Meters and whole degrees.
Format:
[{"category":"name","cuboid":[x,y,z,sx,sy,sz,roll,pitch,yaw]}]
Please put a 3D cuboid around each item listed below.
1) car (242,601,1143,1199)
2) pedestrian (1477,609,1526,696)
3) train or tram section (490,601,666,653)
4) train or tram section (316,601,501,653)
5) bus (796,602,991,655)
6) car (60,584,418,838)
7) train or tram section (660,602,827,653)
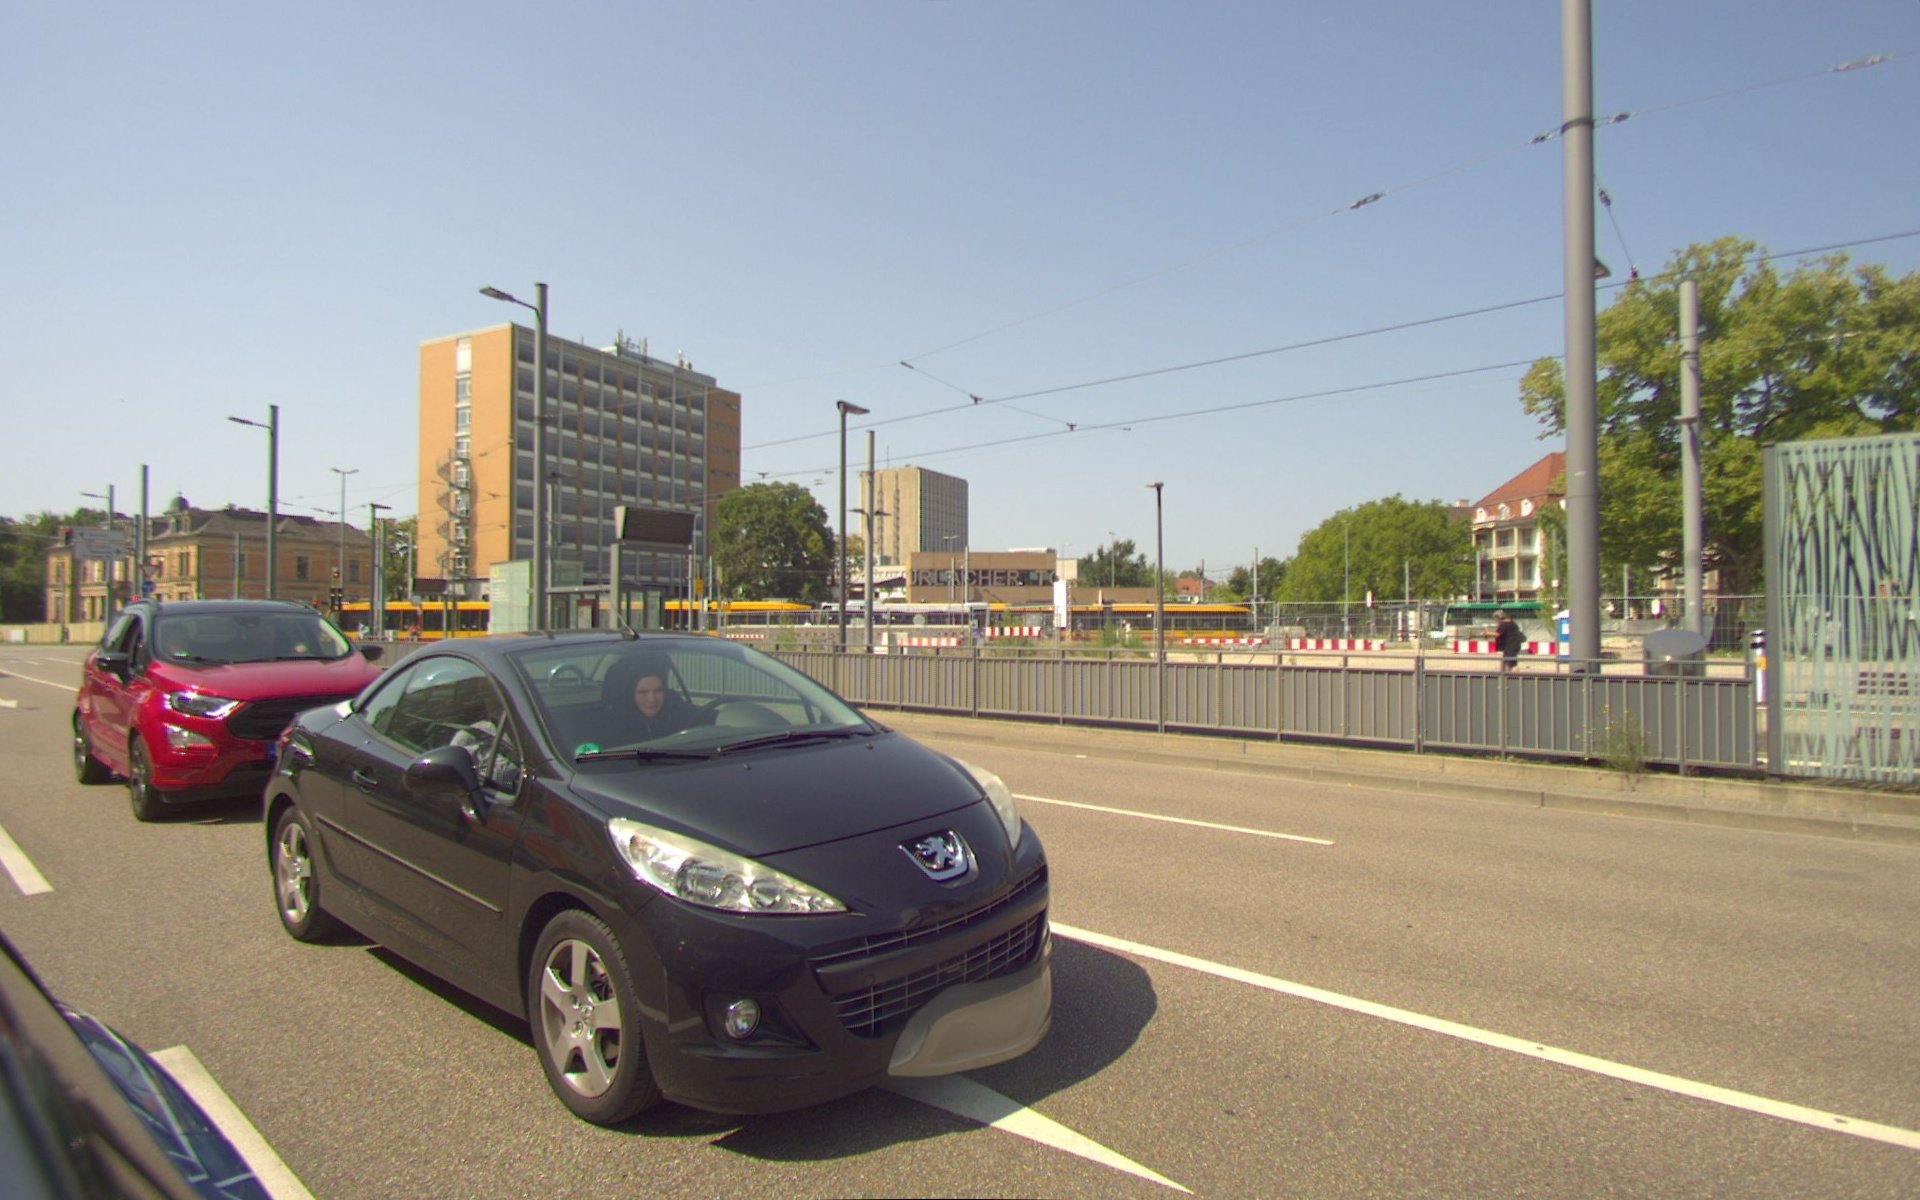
[{"category":"car","cuboid":[-1.352,0.749,4.096,3.799,1.424,1.671,-1,-1,40]},{"category":"pedestrian","cuboid":[11.570,1.105,21.617,0.761,1.801,0.736,-2,-3,41]},{"category":"train or tram section","cuboid":[-28.359,2.046,75.563,12.179,3.794,2.002,0,-2,-5]},{"category":"train or tram section","cuboid":[-40.485,2.010,74.534,12.179,3.794,2.002,0,-2,-5]},{"category":"bus","cuboid":[-4.644,1.929,70.621,13.204,3.319,3.355,-1,0,-5]},{"category":"car","cuboid":[-6.150,0.748,8.452,3.966,1.633,1.613,-1,-1,42]},{"category":"train or tram section","cuboid":[-16.241,2.088,76.589,12.179,3.794,2.002,0,-2,-5]}]
